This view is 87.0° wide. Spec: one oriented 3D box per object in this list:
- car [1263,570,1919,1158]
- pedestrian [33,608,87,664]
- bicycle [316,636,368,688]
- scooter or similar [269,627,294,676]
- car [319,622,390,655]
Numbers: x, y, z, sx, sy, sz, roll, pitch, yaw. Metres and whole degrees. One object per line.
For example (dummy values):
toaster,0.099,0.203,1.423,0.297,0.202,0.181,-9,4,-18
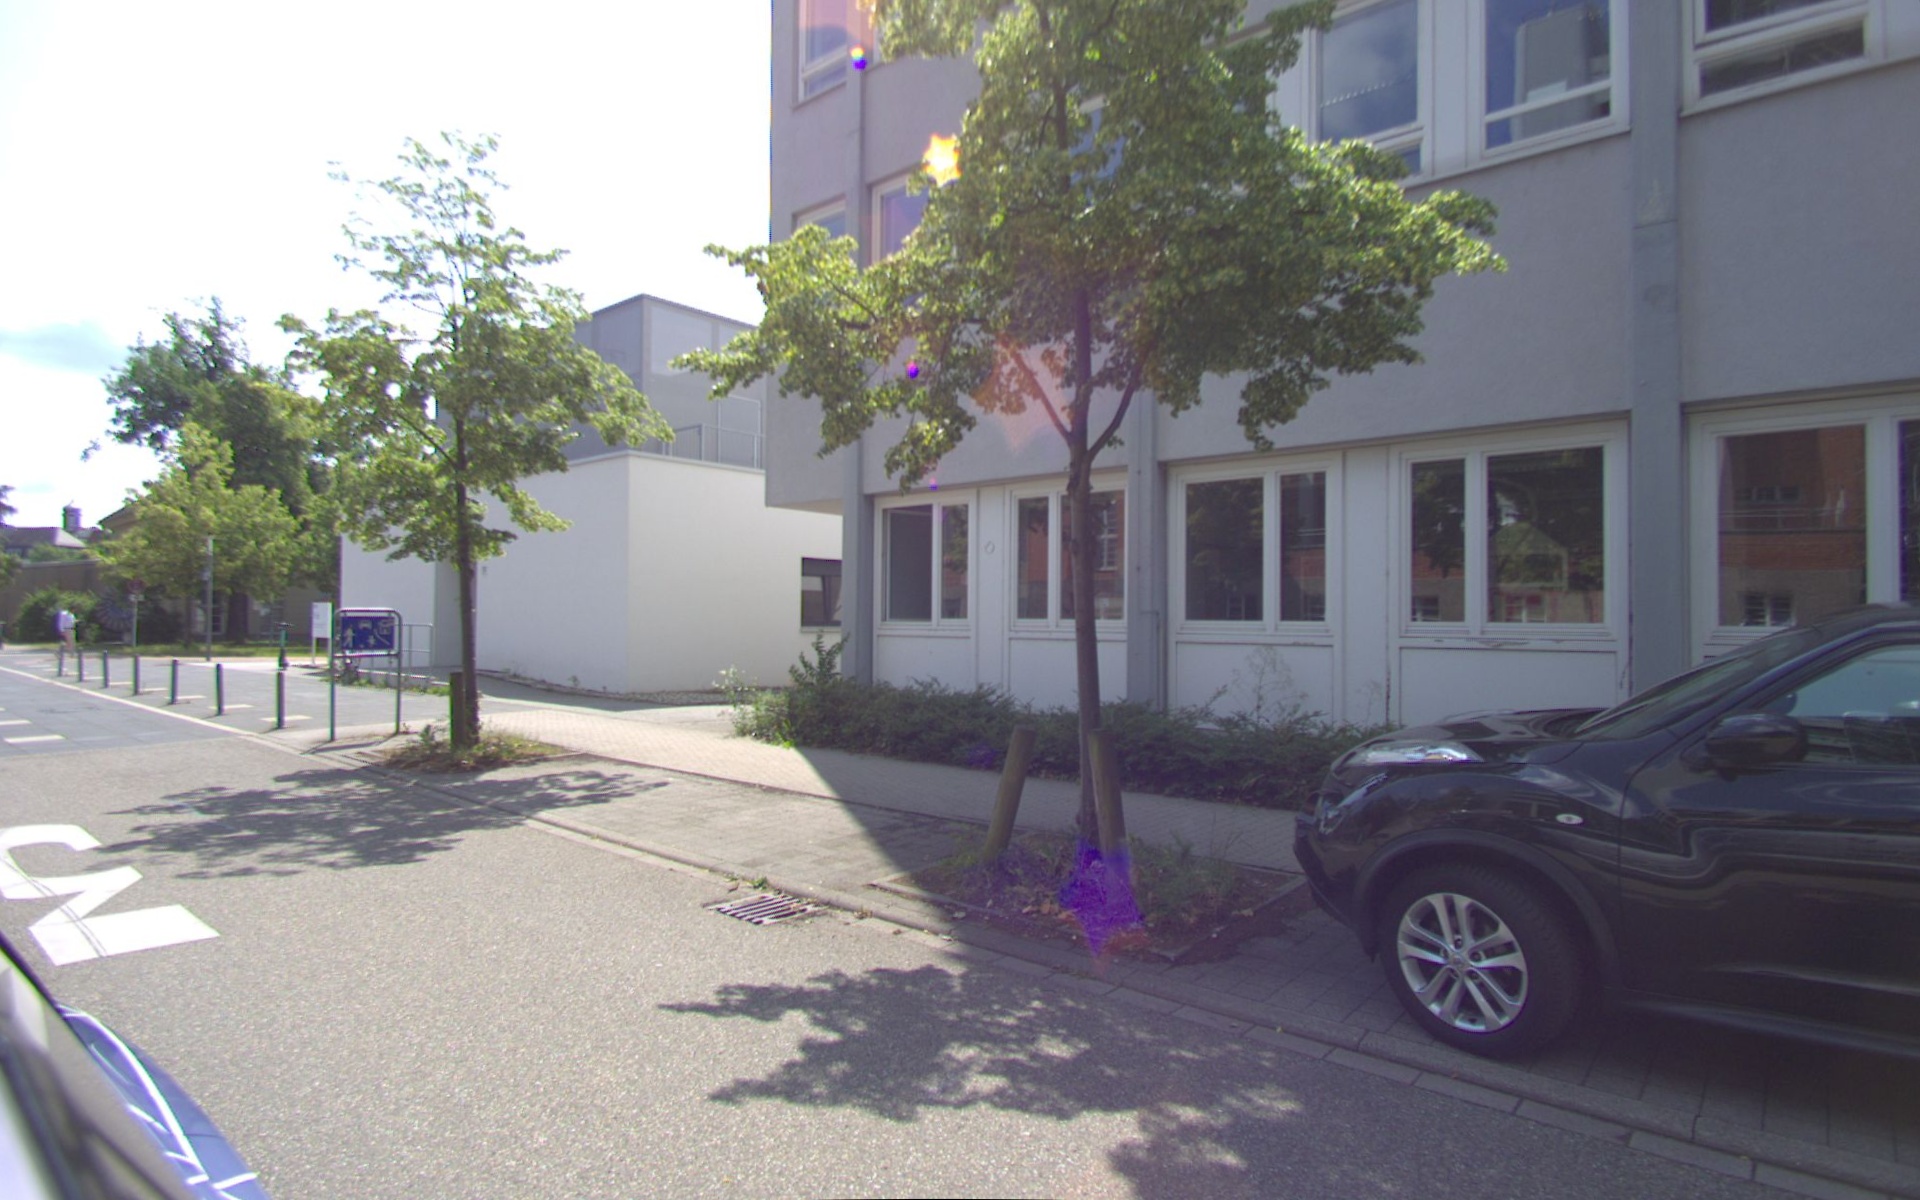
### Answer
car,3.261,0.724,3.255,4.064,1.576,1.680,-1,-2,39
pedestrian,-30.920,1.235,34.783,1.007,1.862,0.919,2,-3,-19
bicycle,-13.360,1.320,21.846,0.537,1.069,1.900,2,-2,-44
scooter or similar,-18.144,1.371,27.044,0.476,1.272,1.316,1,-2,-37
car,-32.808,2.049,54.772,4.647,1.593,1.875,0,-1,40
